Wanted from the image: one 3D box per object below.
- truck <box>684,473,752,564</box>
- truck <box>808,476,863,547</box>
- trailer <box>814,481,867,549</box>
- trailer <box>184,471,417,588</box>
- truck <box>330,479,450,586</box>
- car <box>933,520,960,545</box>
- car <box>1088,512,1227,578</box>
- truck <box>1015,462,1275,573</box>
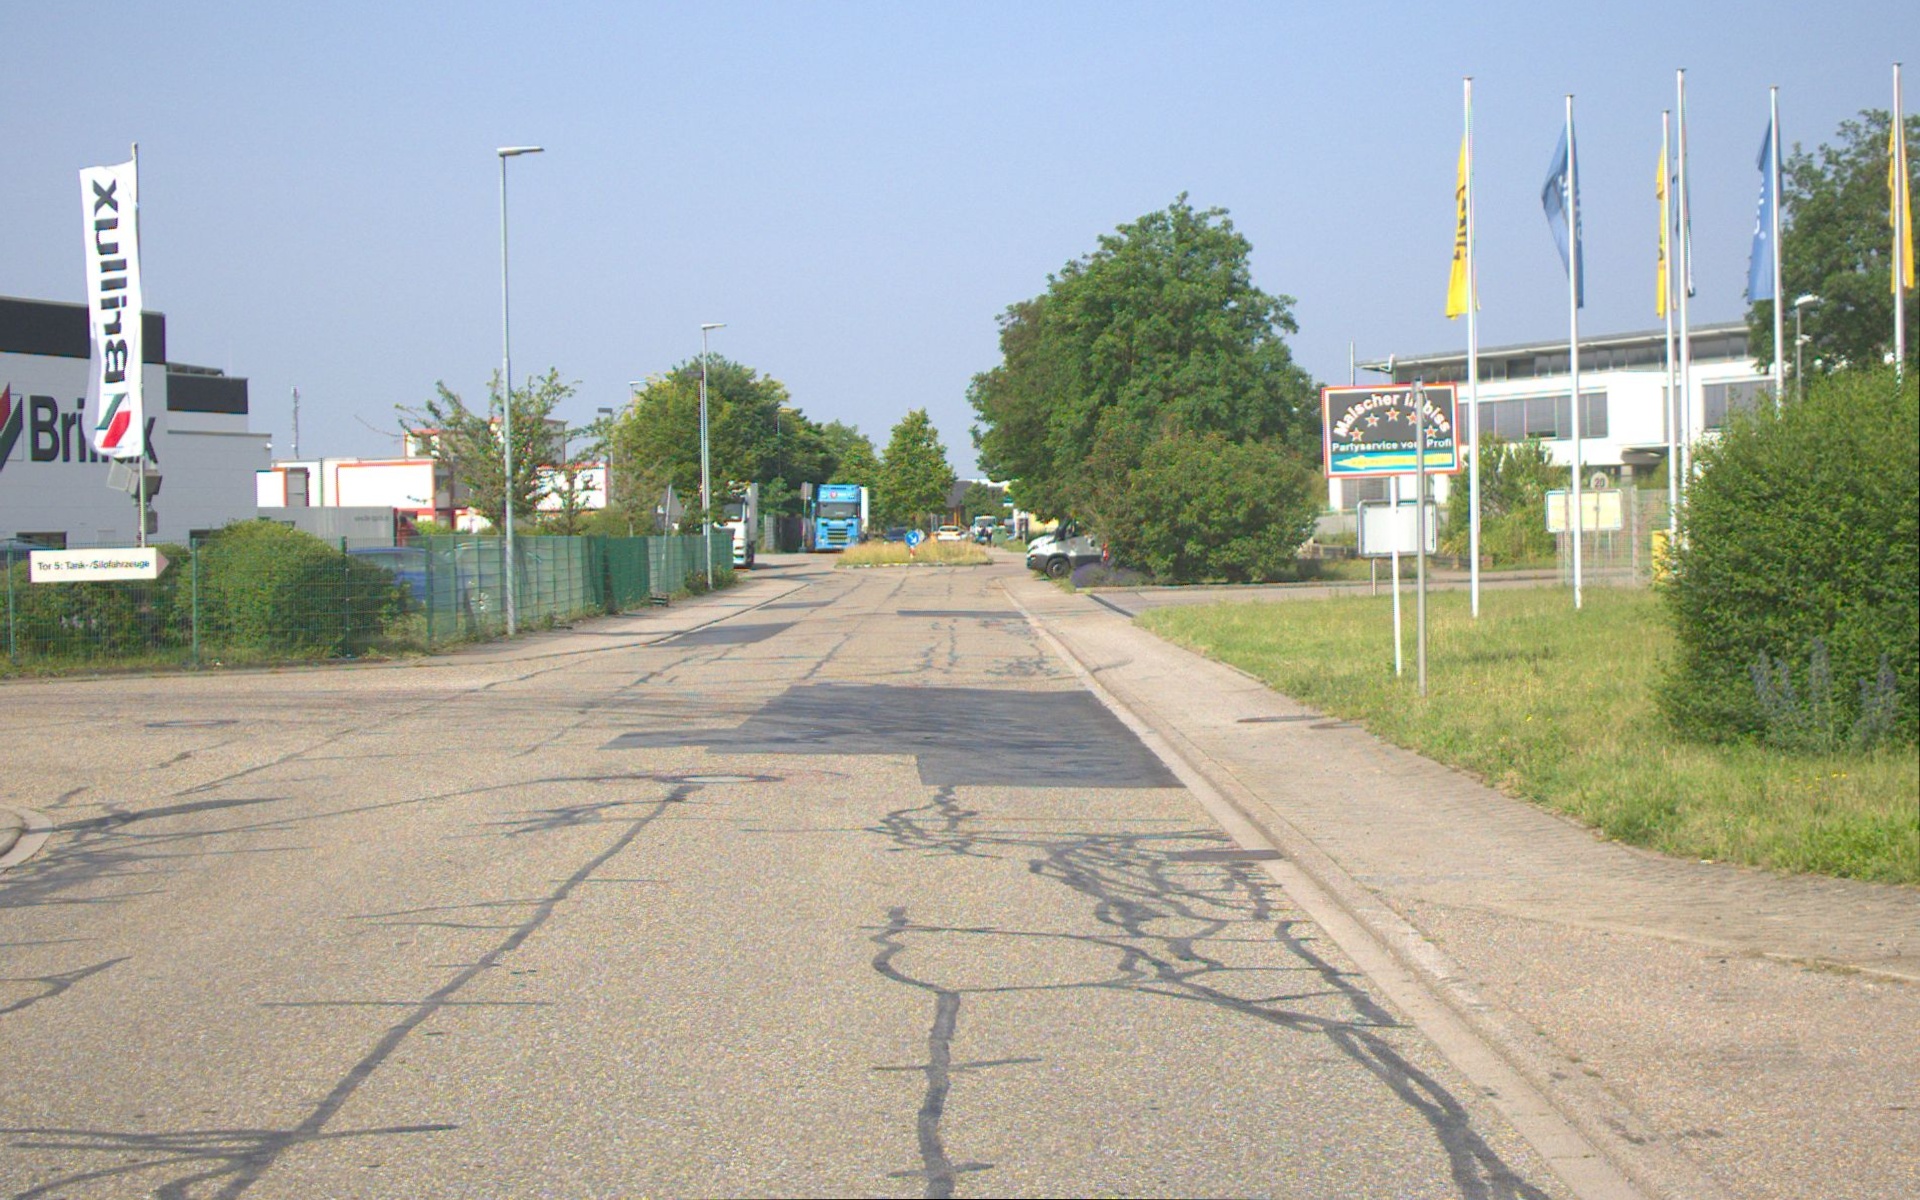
[{"bbox_3d":[-10.675,-3.577,151.933,2.708,3.908,4.297,1,0,-1],"label":"truck"},{"bbox_3d":[-7.064,-4.987,196.087,2.825,3.812,9.673,1,0,0],"label":"truck"},{"bbox_3d":[-7.116,-5.042,206.166,2.831,3.829,12.036,1,0,0],"label":"trailer"},{"bbox_3d":[-24.202,-2.513,127.261,2.484,4.028,13.878,1,0,16],"label":"trailer"},{"bbox_3d":[-22.237,-2.616,134.448,2.514,4.057,5.539,1,0,15],"label":"truck"},{"bbox_3d":[-0.916,-4.653,236.748,1.718,1.655,3.824,1,0,-2],"label":"car"},{"bbox_3d":[5.807,-1.615,101.323,3.987,1.831,2.000,-1,1,1],"label":"car"},{"bbox_3d":[5.965,-2.664,111.949,8.208,3.359,2.741,-2,0,-1],"label":"truck"}]
